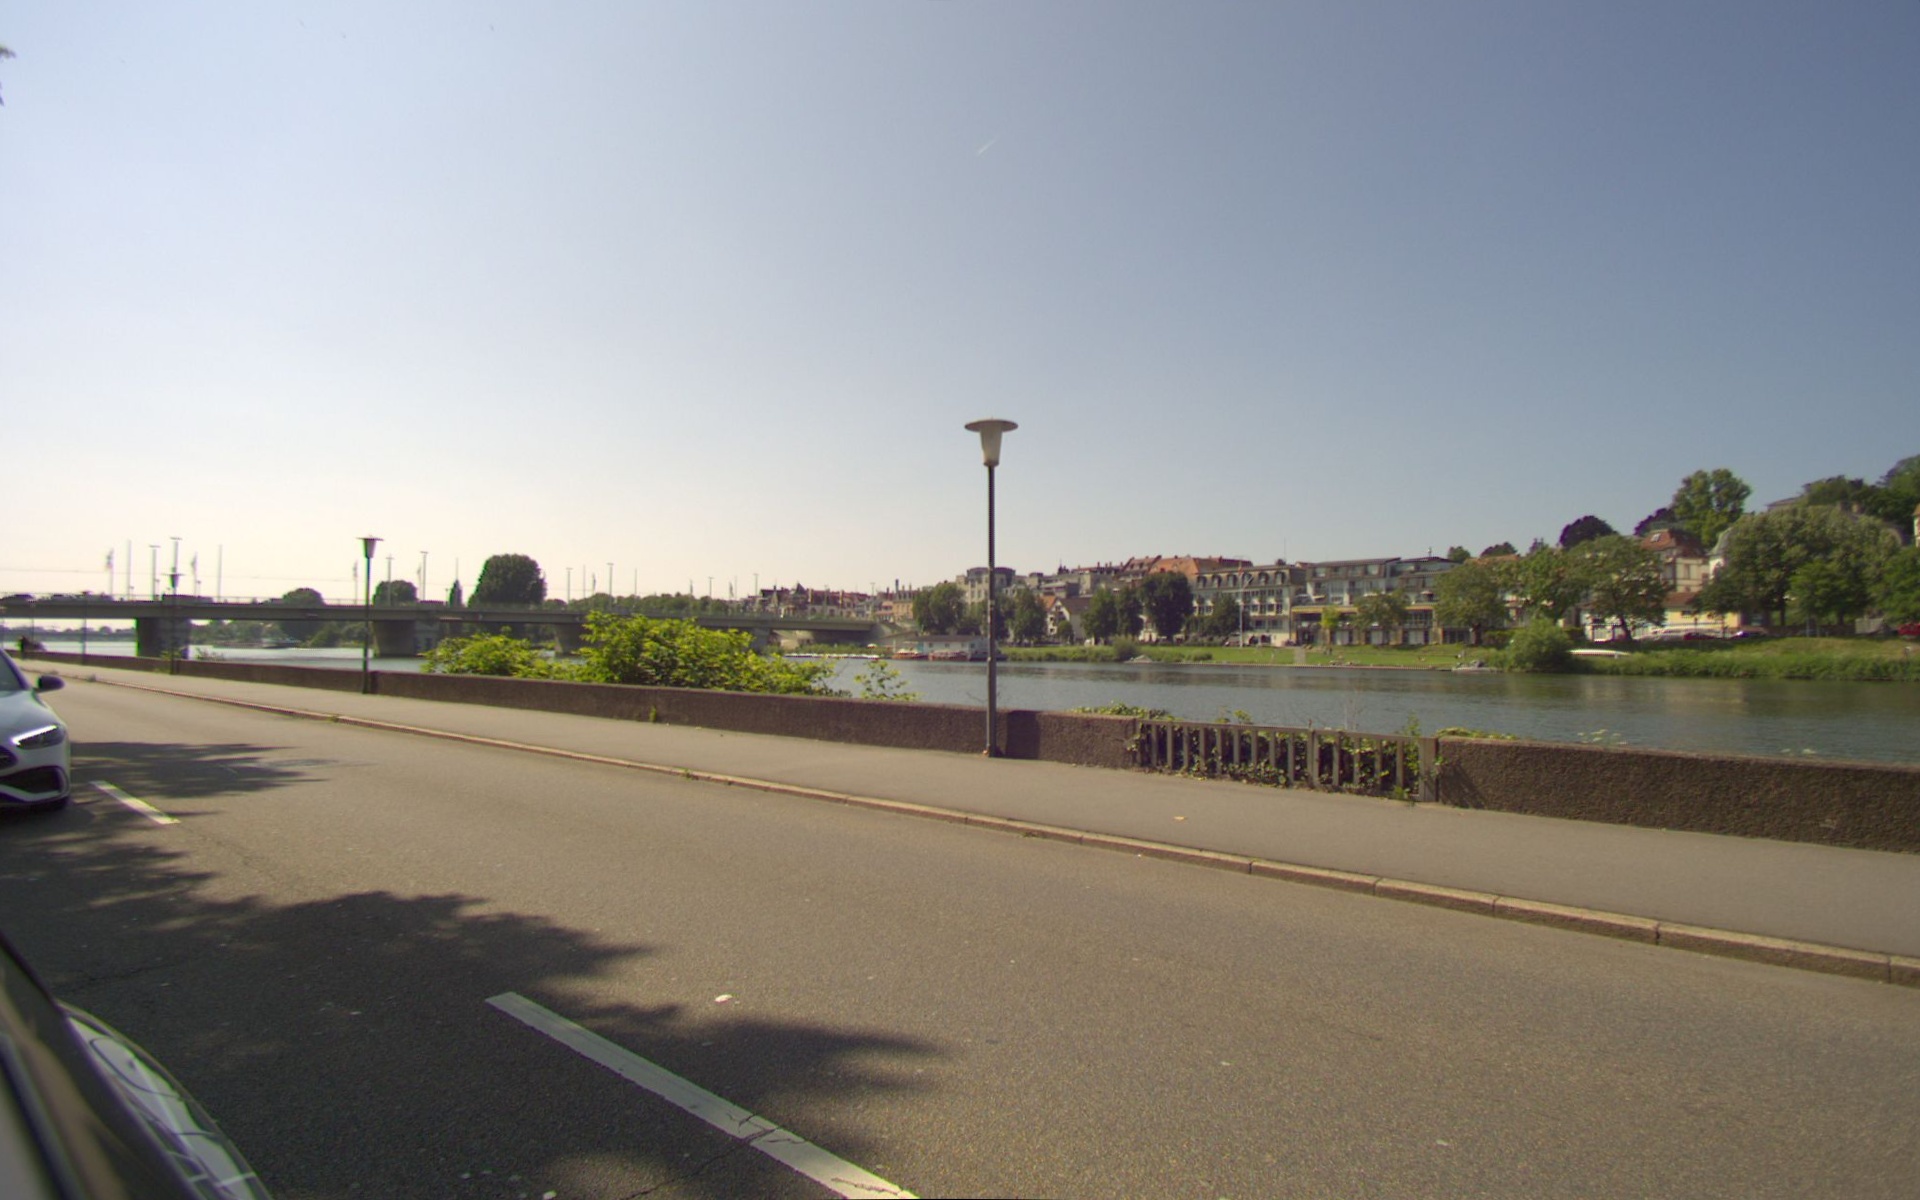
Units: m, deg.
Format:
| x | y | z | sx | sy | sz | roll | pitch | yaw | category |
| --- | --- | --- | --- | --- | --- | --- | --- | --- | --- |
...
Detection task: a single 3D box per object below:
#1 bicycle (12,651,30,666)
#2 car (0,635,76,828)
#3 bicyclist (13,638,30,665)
| x | y | z | sx | sy | sz | roll | pitch | yaw | category |
| --- | --- | --- | --- | --- | --- | --- | --- | --- | --- |
| -60.897 | 3.785 | 65.642 | 1.943 | 0.990 | 0.645 | -2 | -4 | 42 | bicycle |
| -9.173 | 1.047 | 8.707 | 4.551 | 1.430 | 1.806 | -2 | -3 | 42 | car |
| -60.924 | 3.352 | 65.671 | 0.974 | 1.715 | 0.654 | -2 | -4 | 42 | bicyclist |
